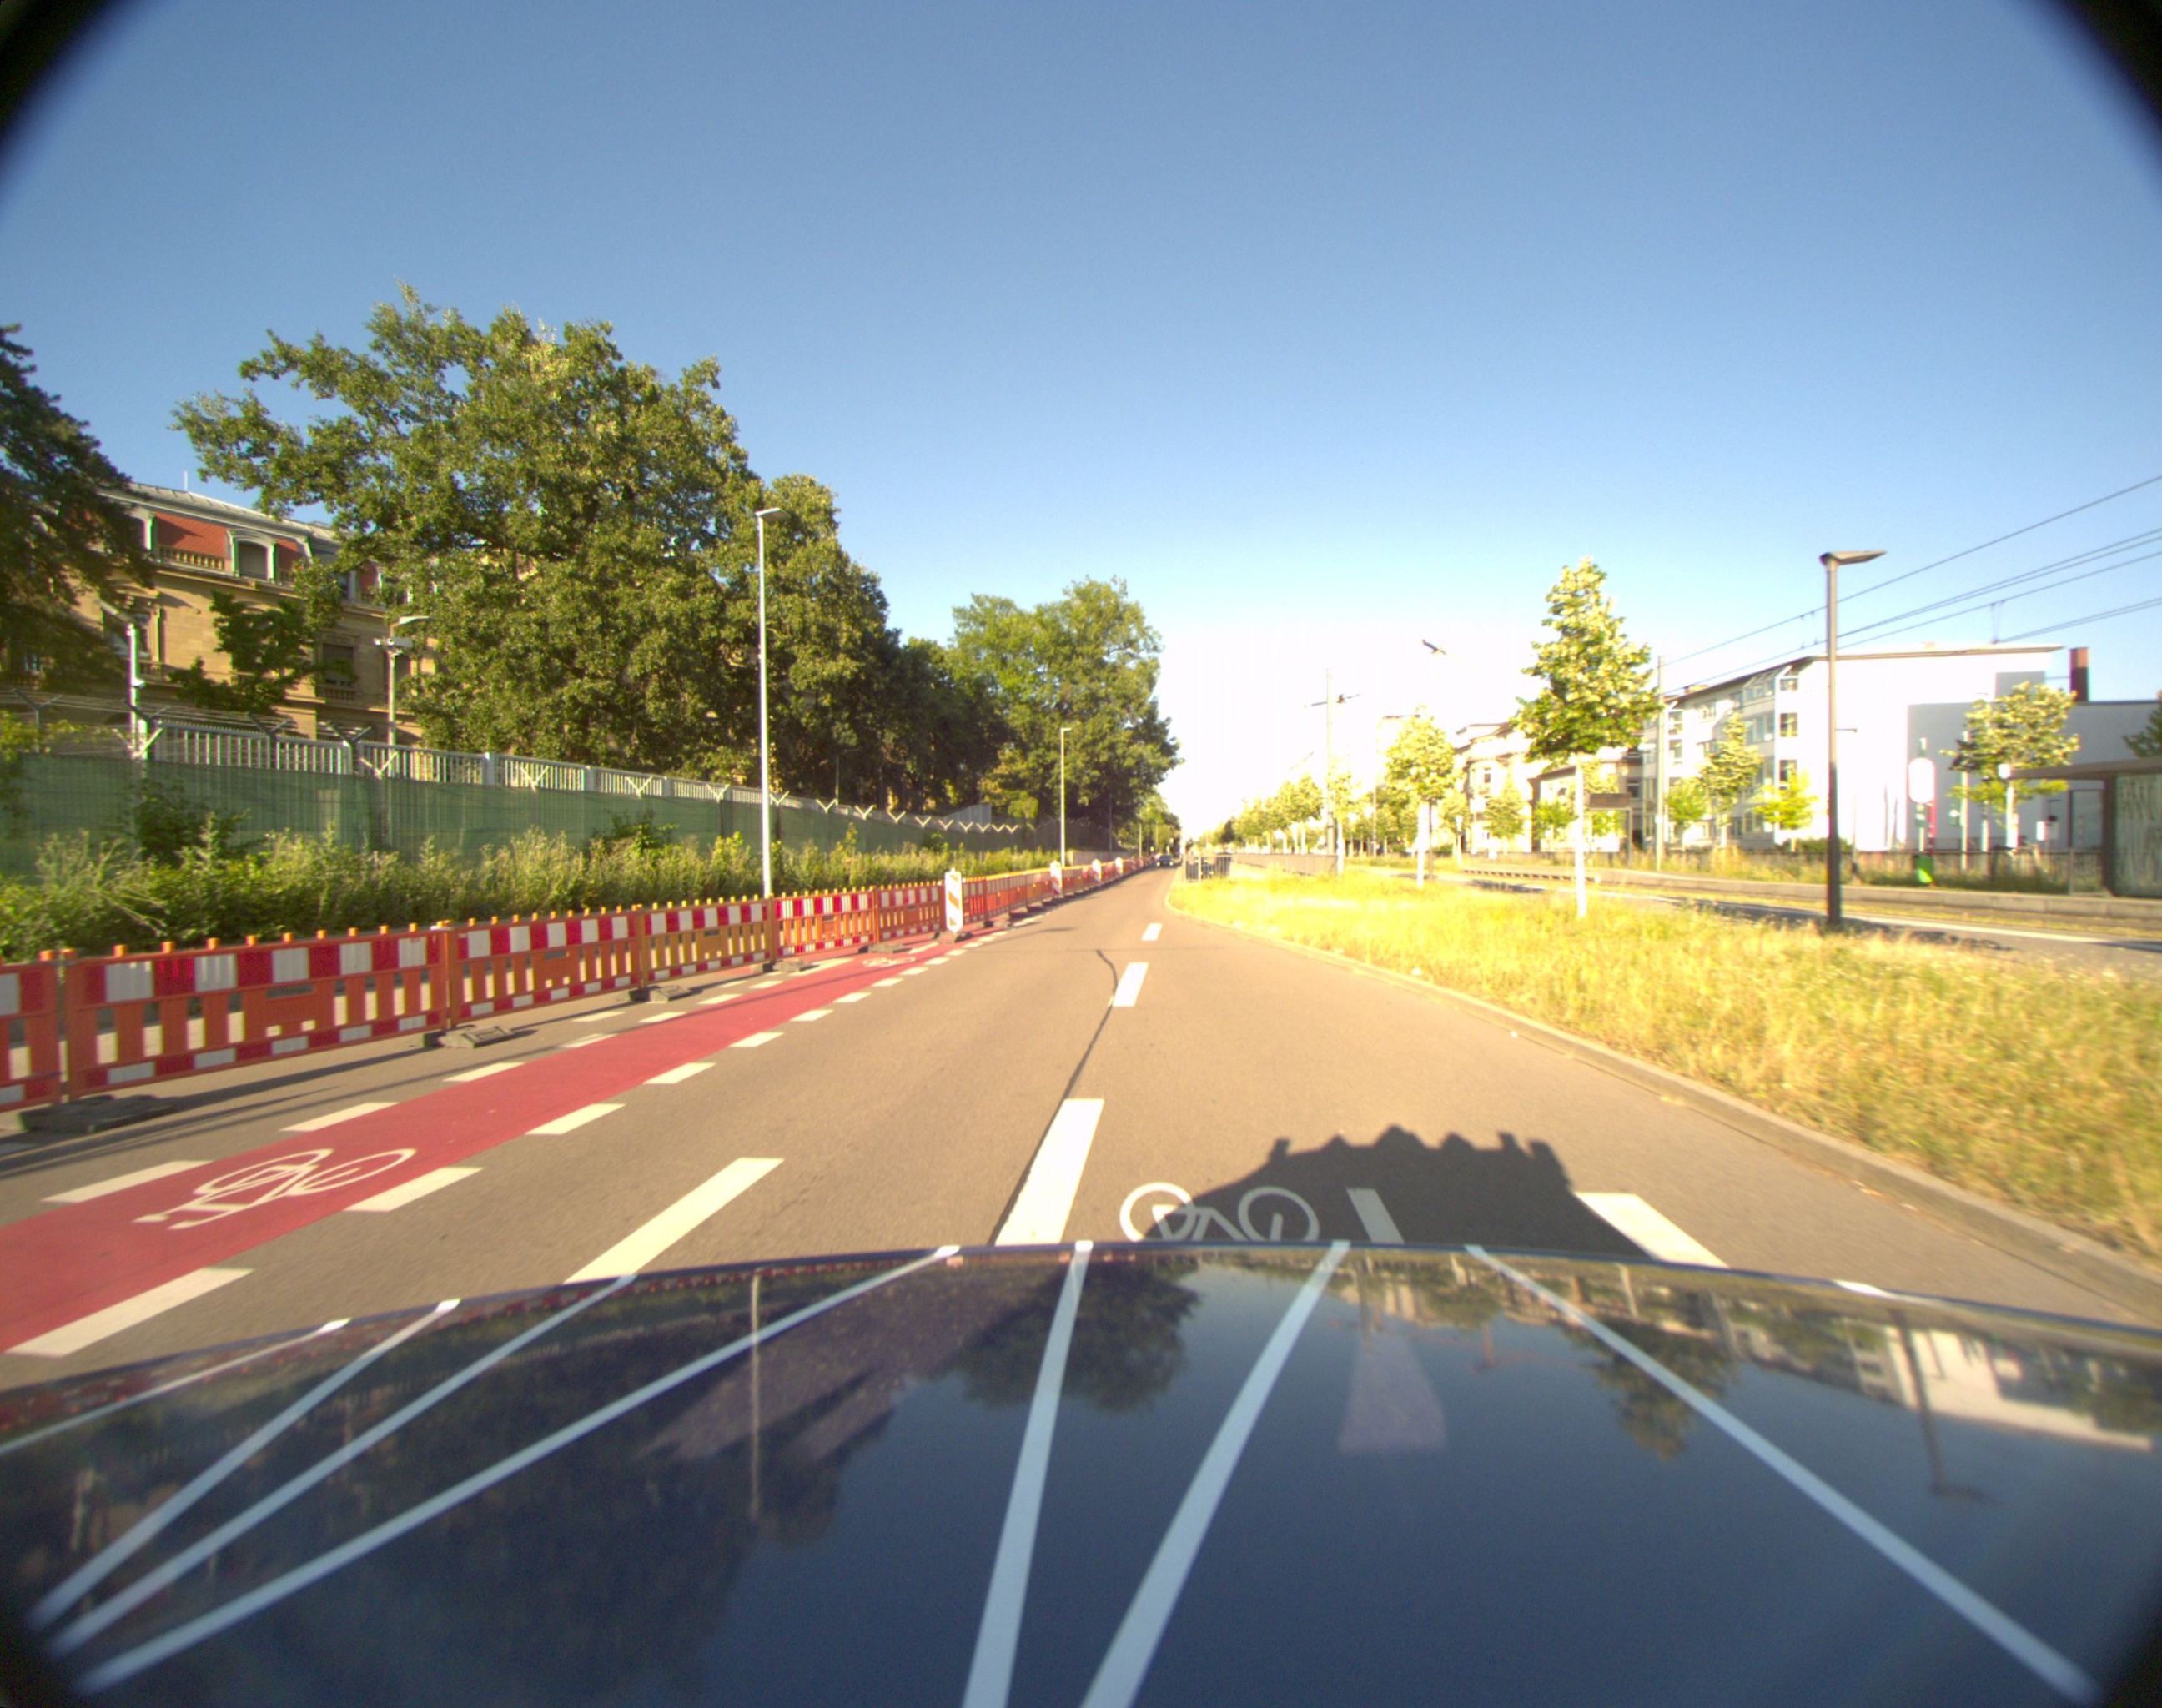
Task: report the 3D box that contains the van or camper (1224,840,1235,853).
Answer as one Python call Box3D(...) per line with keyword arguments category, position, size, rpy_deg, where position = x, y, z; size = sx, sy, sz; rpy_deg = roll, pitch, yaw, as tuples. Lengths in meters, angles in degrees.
Box3D(category="van or camper", position=(38.185, -1.938, 195.509), size=(2.509, 3.149, 7.481), rpy_deg=(-1, 1, 11))

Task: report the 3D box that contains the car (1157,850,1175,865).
Box3D(category="car", position=(10.296, 0.420, 92.156), size=(2.079, 1.827, 4.002), rpy_deg=(0, 1, 8))
